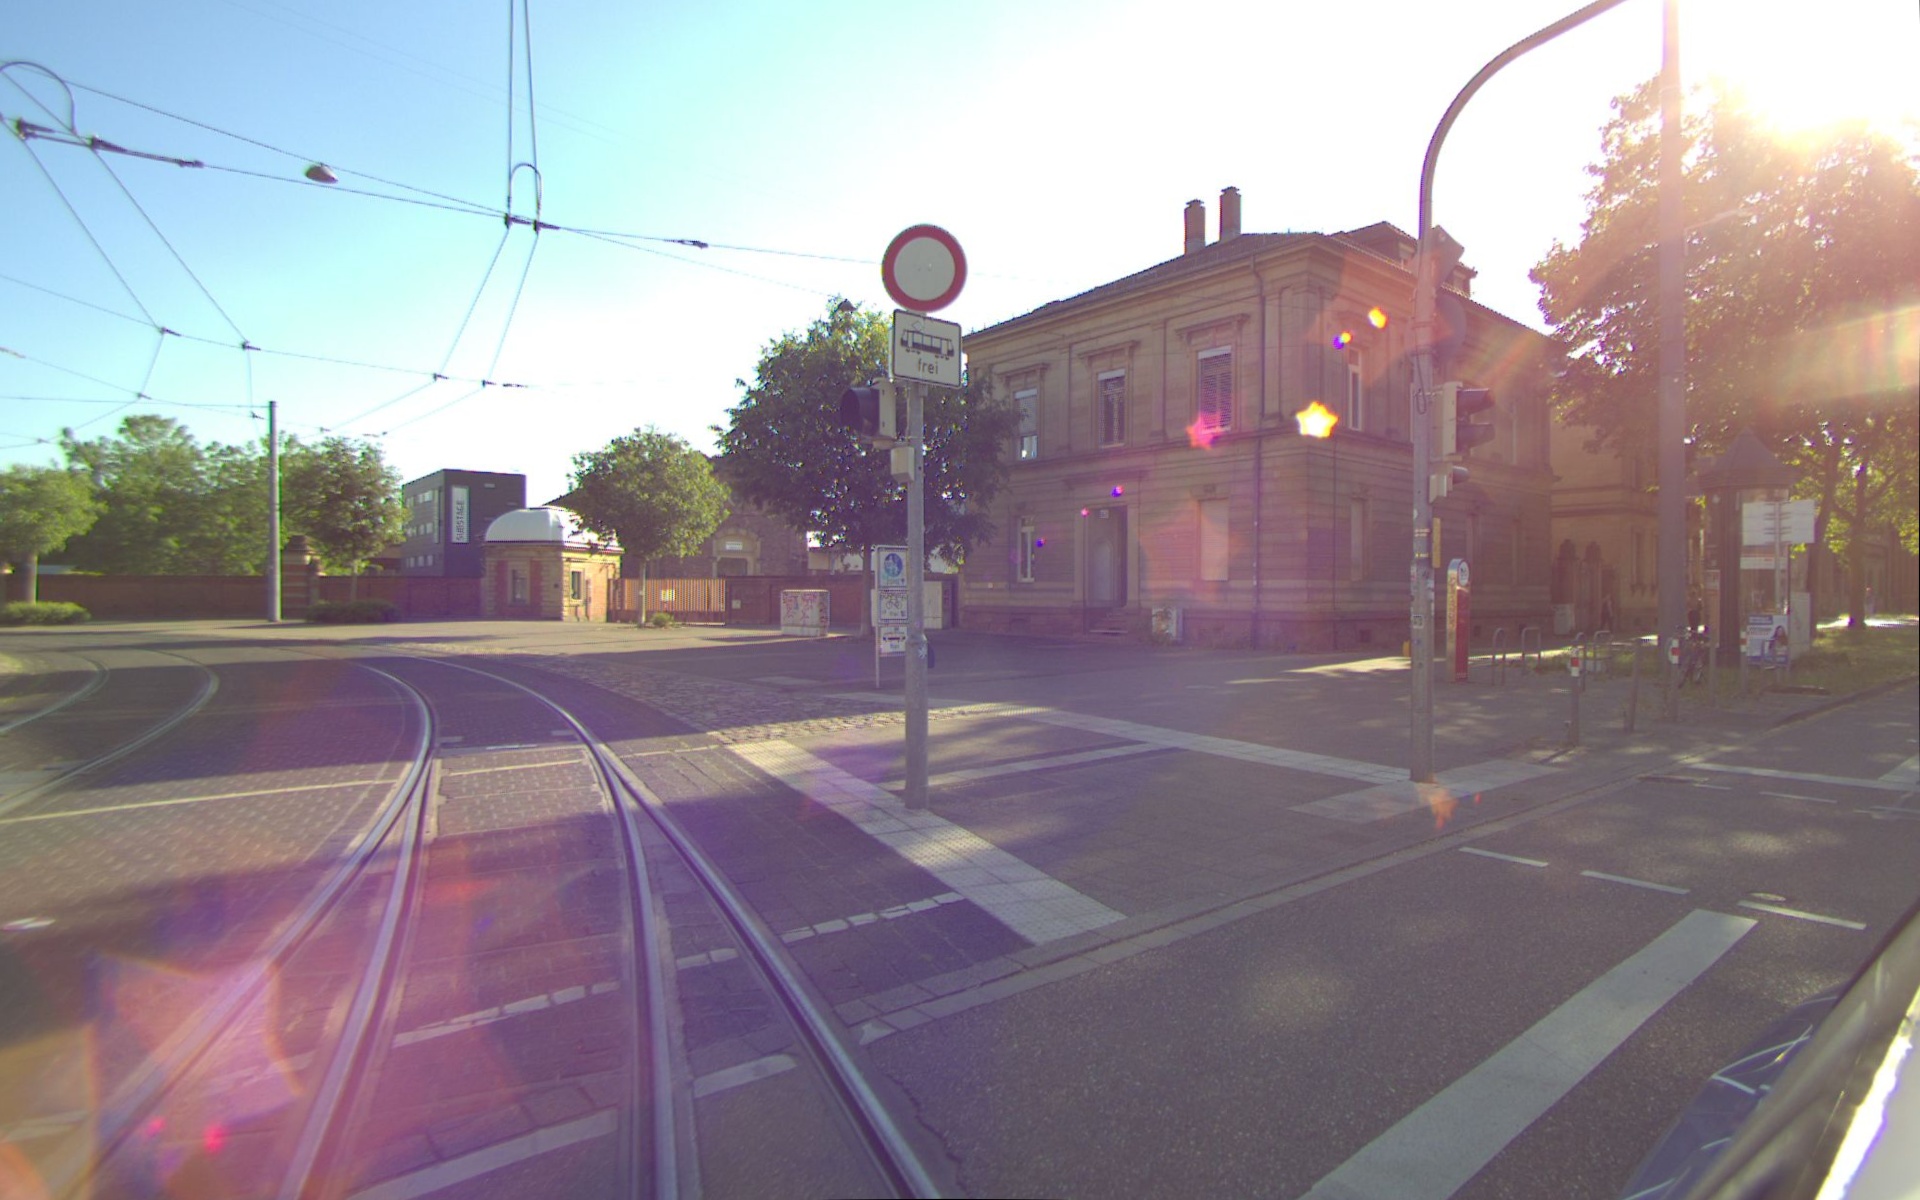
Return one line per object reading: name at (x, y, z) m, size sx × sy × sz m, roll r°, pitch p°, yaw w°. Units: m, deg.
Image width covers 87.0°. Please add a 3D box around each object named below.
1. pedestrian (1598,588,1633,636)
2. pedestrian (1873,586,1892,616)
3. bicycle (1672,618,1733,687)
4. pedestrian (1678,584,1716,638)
pedestrian at (22.842, 0.395, 35.258) m, size 0.968 × 1.626 × 0.771 m, roll 0°, pitch 0°, yaw -39°
pedestrian at (52.346, 0.066, 57.419) m, size 0.858 × 1.683 × 0.672 m, roll 0°, pitch 1°, yaw -39°
bicycle at (12.488, 0.855, 17.010) m, size 1.742 × 1.075 × 0.540 m, roll 0°, pitch 0°, yaw -44°
pedestrian at (24.144, 0.357, 33.144) m, size 1.023 × 1.731 × 0.771 m, roll 0°, pitch 0°, yaw -39°
